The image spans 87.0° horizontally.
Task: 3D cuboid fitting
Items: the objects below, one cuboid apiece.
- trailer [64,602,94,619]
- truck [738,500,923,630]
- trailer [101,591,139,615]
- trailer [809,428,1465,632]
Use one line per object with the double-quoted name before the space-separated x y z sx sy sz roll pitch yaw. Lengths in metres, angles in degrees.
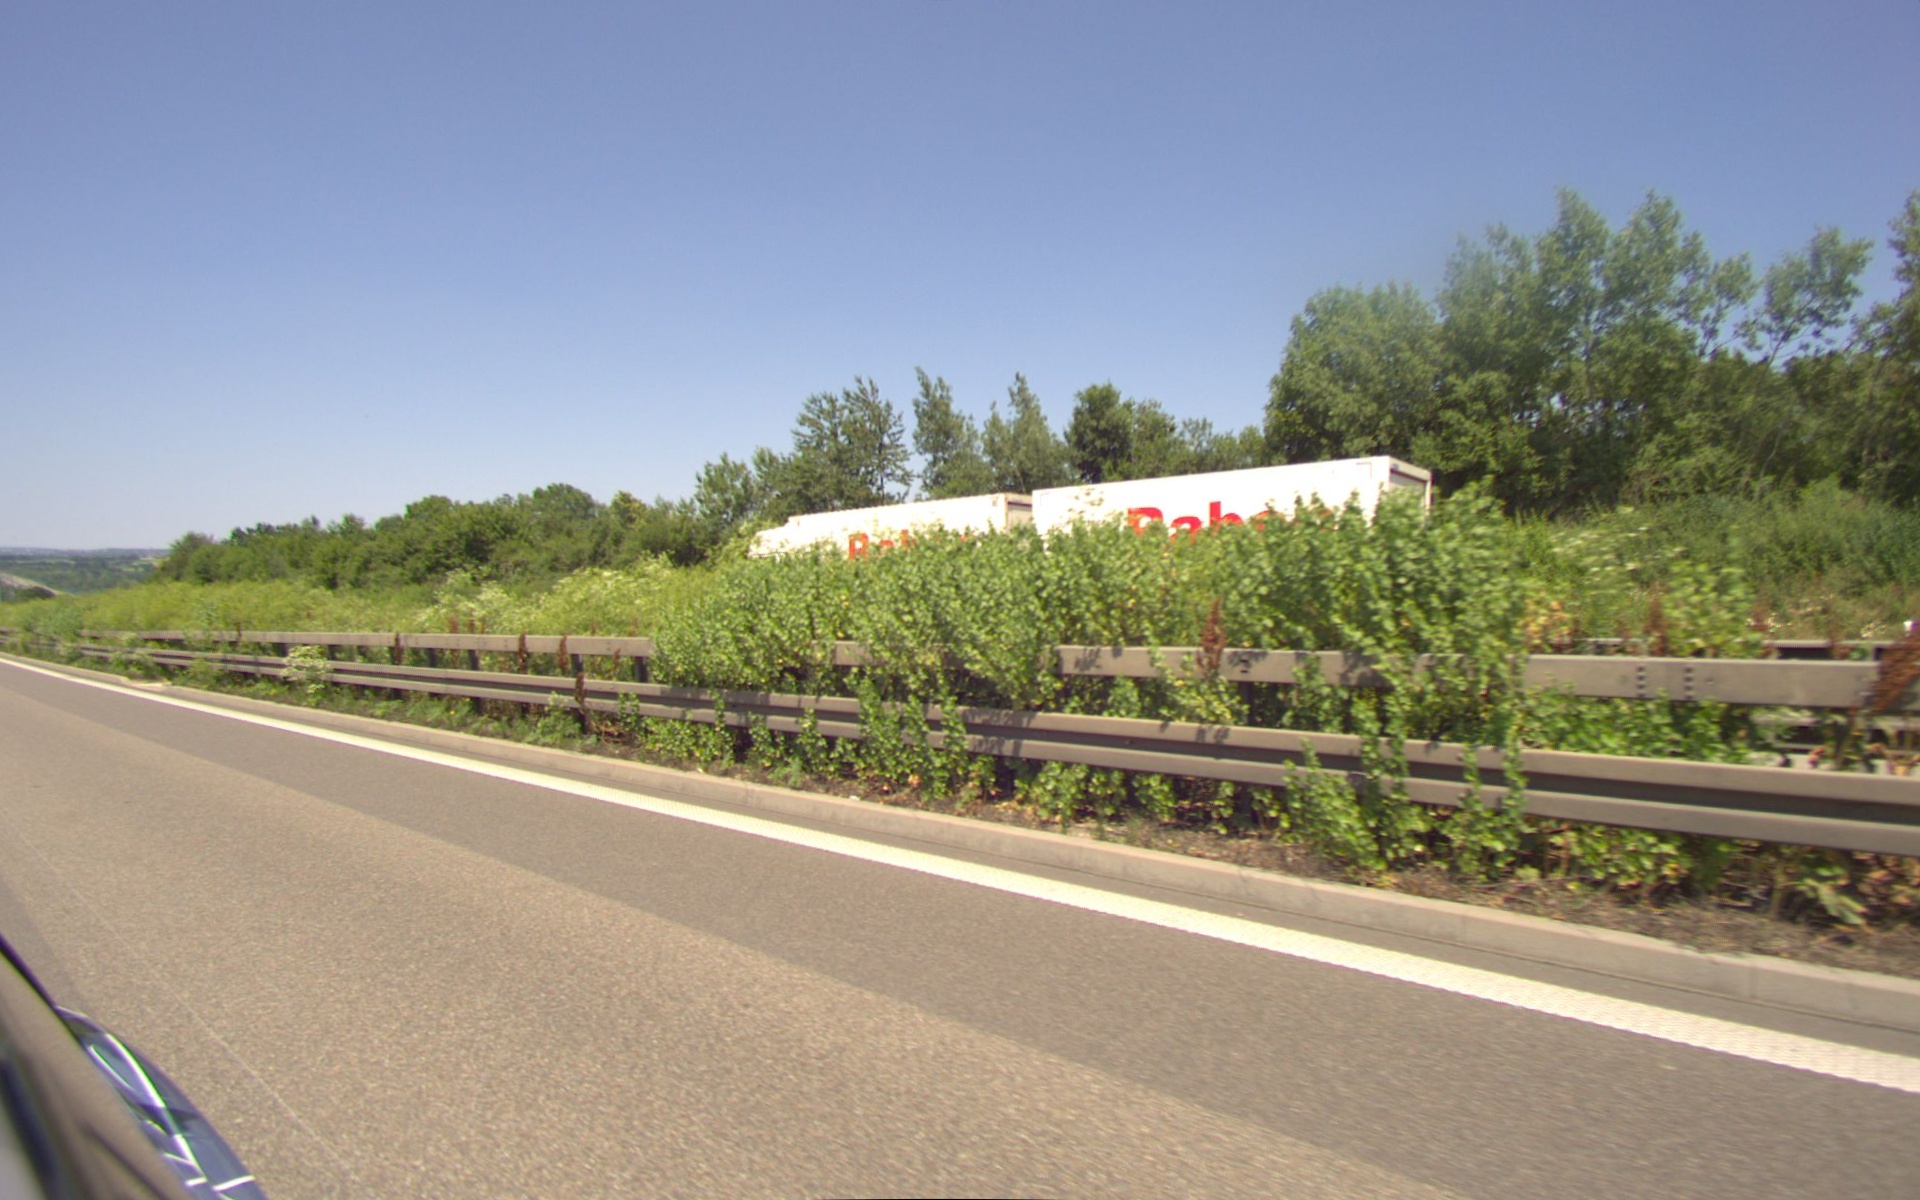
"trailer" -150.080 1.820 172.352 12.314 2.822 2.645 -1 -1 43
"truck" -3.765 -0.874 28.957 5.043 3.376 2.570 -1 -1 41
"trailer" -102.418 0.400 123.276 11.413 2.730 2.537 -1 -1 45
"trailer" 2.716 -1.095 23.321 15.820 3.469 2.571 -1 -1 41
